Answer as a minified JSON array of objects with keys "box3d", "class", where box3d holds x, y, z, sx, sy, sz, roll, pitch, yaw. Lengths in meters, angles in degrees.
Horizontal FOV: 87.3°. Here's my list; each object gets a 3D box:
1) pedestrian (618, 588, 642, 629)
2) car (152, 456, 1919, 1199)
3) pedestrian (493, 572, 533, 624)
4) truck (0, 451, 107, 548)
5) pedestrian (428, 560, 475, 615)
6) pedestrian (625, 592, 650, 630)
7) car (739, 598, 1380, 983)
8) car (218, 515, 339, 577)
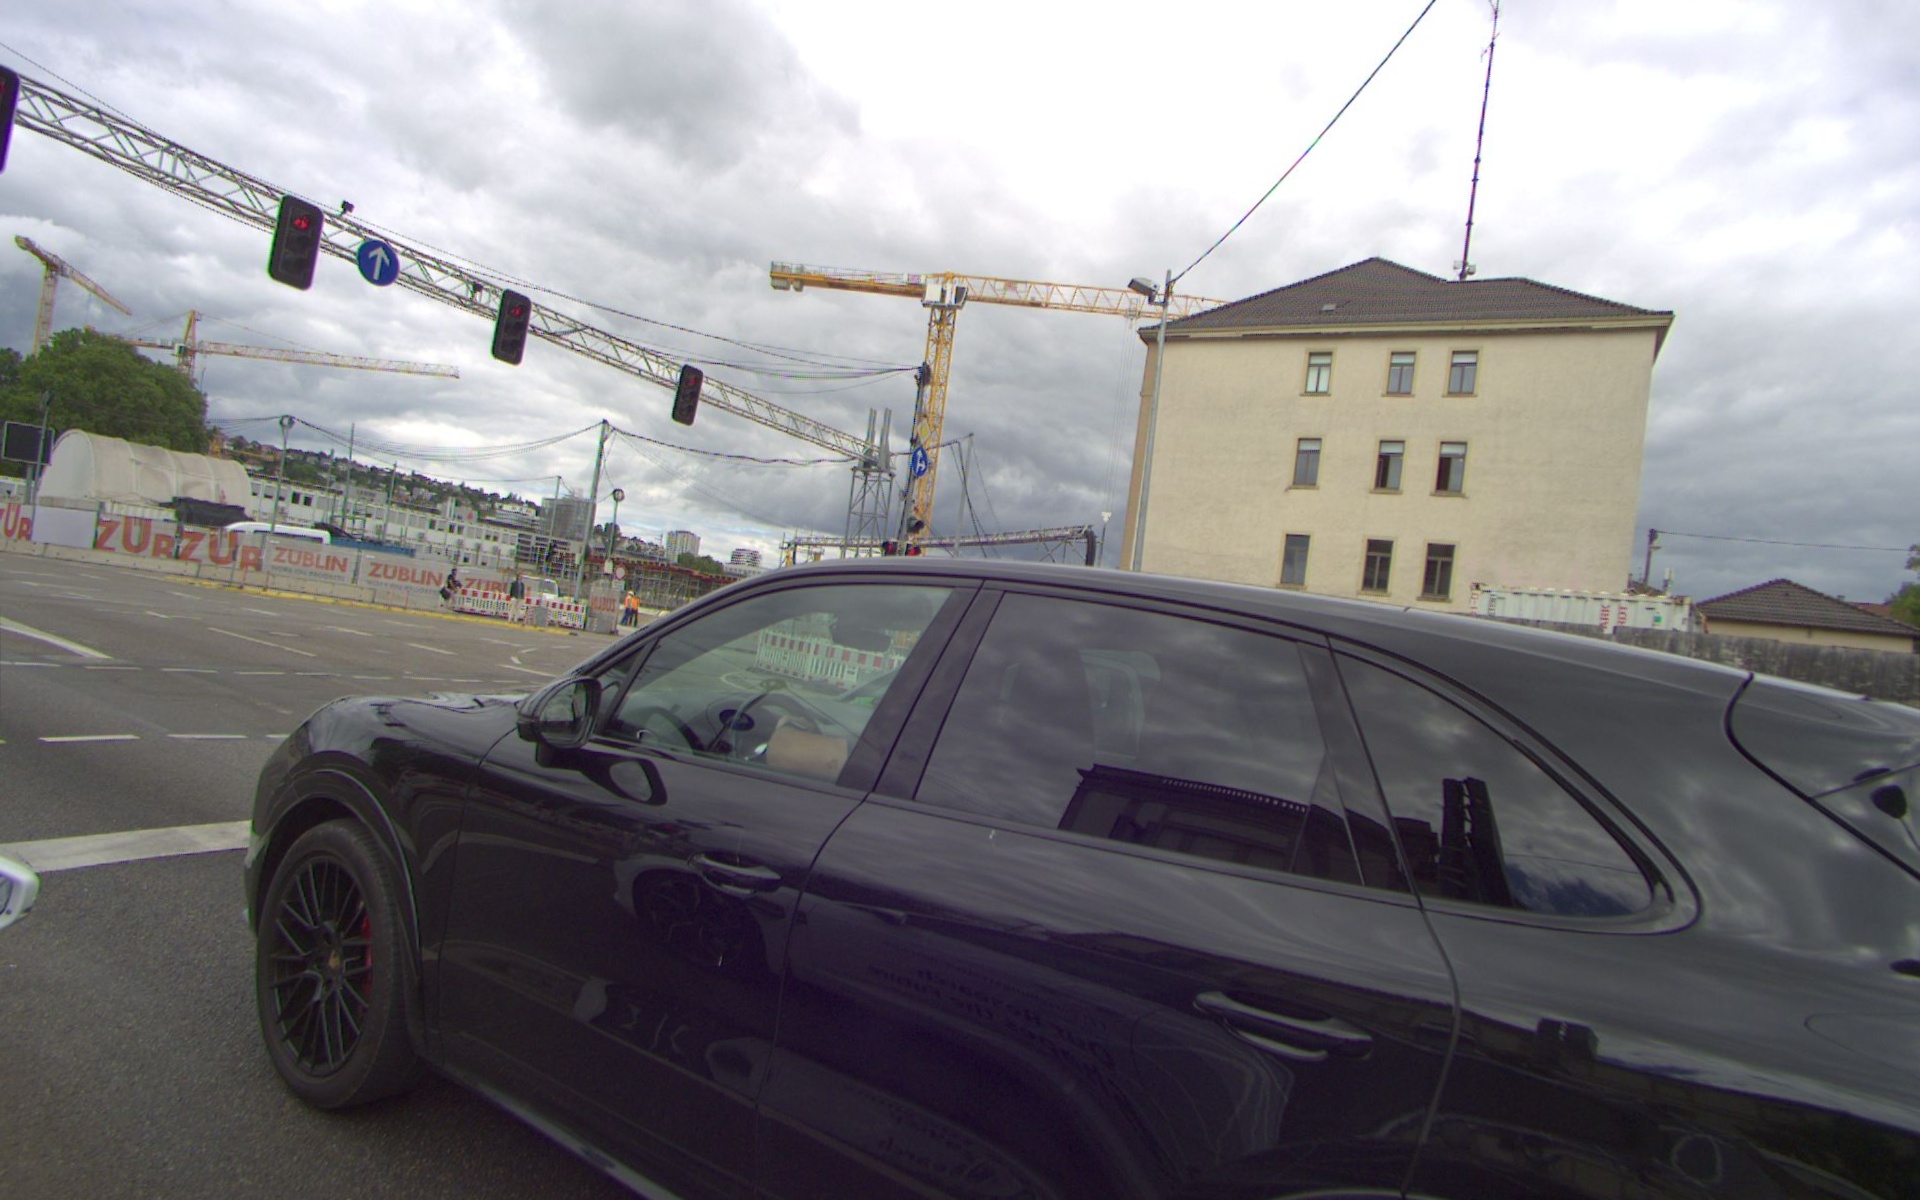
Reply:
[{"box3d":[-17.644,0.444,53.826,0.855,2.037,0.677,6,-1,44],"class":"pedestrian"},{"box3d":[-0.003,0.690,2.717,4.505,1.687,1.996,6,-2,34],"class":"car"},{"box3d":[-17.411,-0.080,39.223,1.040,1.869,0.781,8,-1,-42],"class":"pedestrian"},{"box3d":[-57.720,-6.345,60.221,3.054,5.017,9.759,7,-2,14],"class":"truck"},{"box3d":[-20.245,-0.489,40.094,1.015,2.037,1.047,7,-1,18],"class":"pedestrian"},{"box3d":[-17.542,0.593,54.727,0.850,1.938,0.680,7,-1,26],"class":"pedestrian"},{"box3d":[0.578,0.999,6.554,3.587,1.527,1.825,6,-2,33],"class":"car"},{"box3d":[-29.528,-2.328,43.643,3.976,2.037,1.976,9,-2,-43],"class":"car"}]
